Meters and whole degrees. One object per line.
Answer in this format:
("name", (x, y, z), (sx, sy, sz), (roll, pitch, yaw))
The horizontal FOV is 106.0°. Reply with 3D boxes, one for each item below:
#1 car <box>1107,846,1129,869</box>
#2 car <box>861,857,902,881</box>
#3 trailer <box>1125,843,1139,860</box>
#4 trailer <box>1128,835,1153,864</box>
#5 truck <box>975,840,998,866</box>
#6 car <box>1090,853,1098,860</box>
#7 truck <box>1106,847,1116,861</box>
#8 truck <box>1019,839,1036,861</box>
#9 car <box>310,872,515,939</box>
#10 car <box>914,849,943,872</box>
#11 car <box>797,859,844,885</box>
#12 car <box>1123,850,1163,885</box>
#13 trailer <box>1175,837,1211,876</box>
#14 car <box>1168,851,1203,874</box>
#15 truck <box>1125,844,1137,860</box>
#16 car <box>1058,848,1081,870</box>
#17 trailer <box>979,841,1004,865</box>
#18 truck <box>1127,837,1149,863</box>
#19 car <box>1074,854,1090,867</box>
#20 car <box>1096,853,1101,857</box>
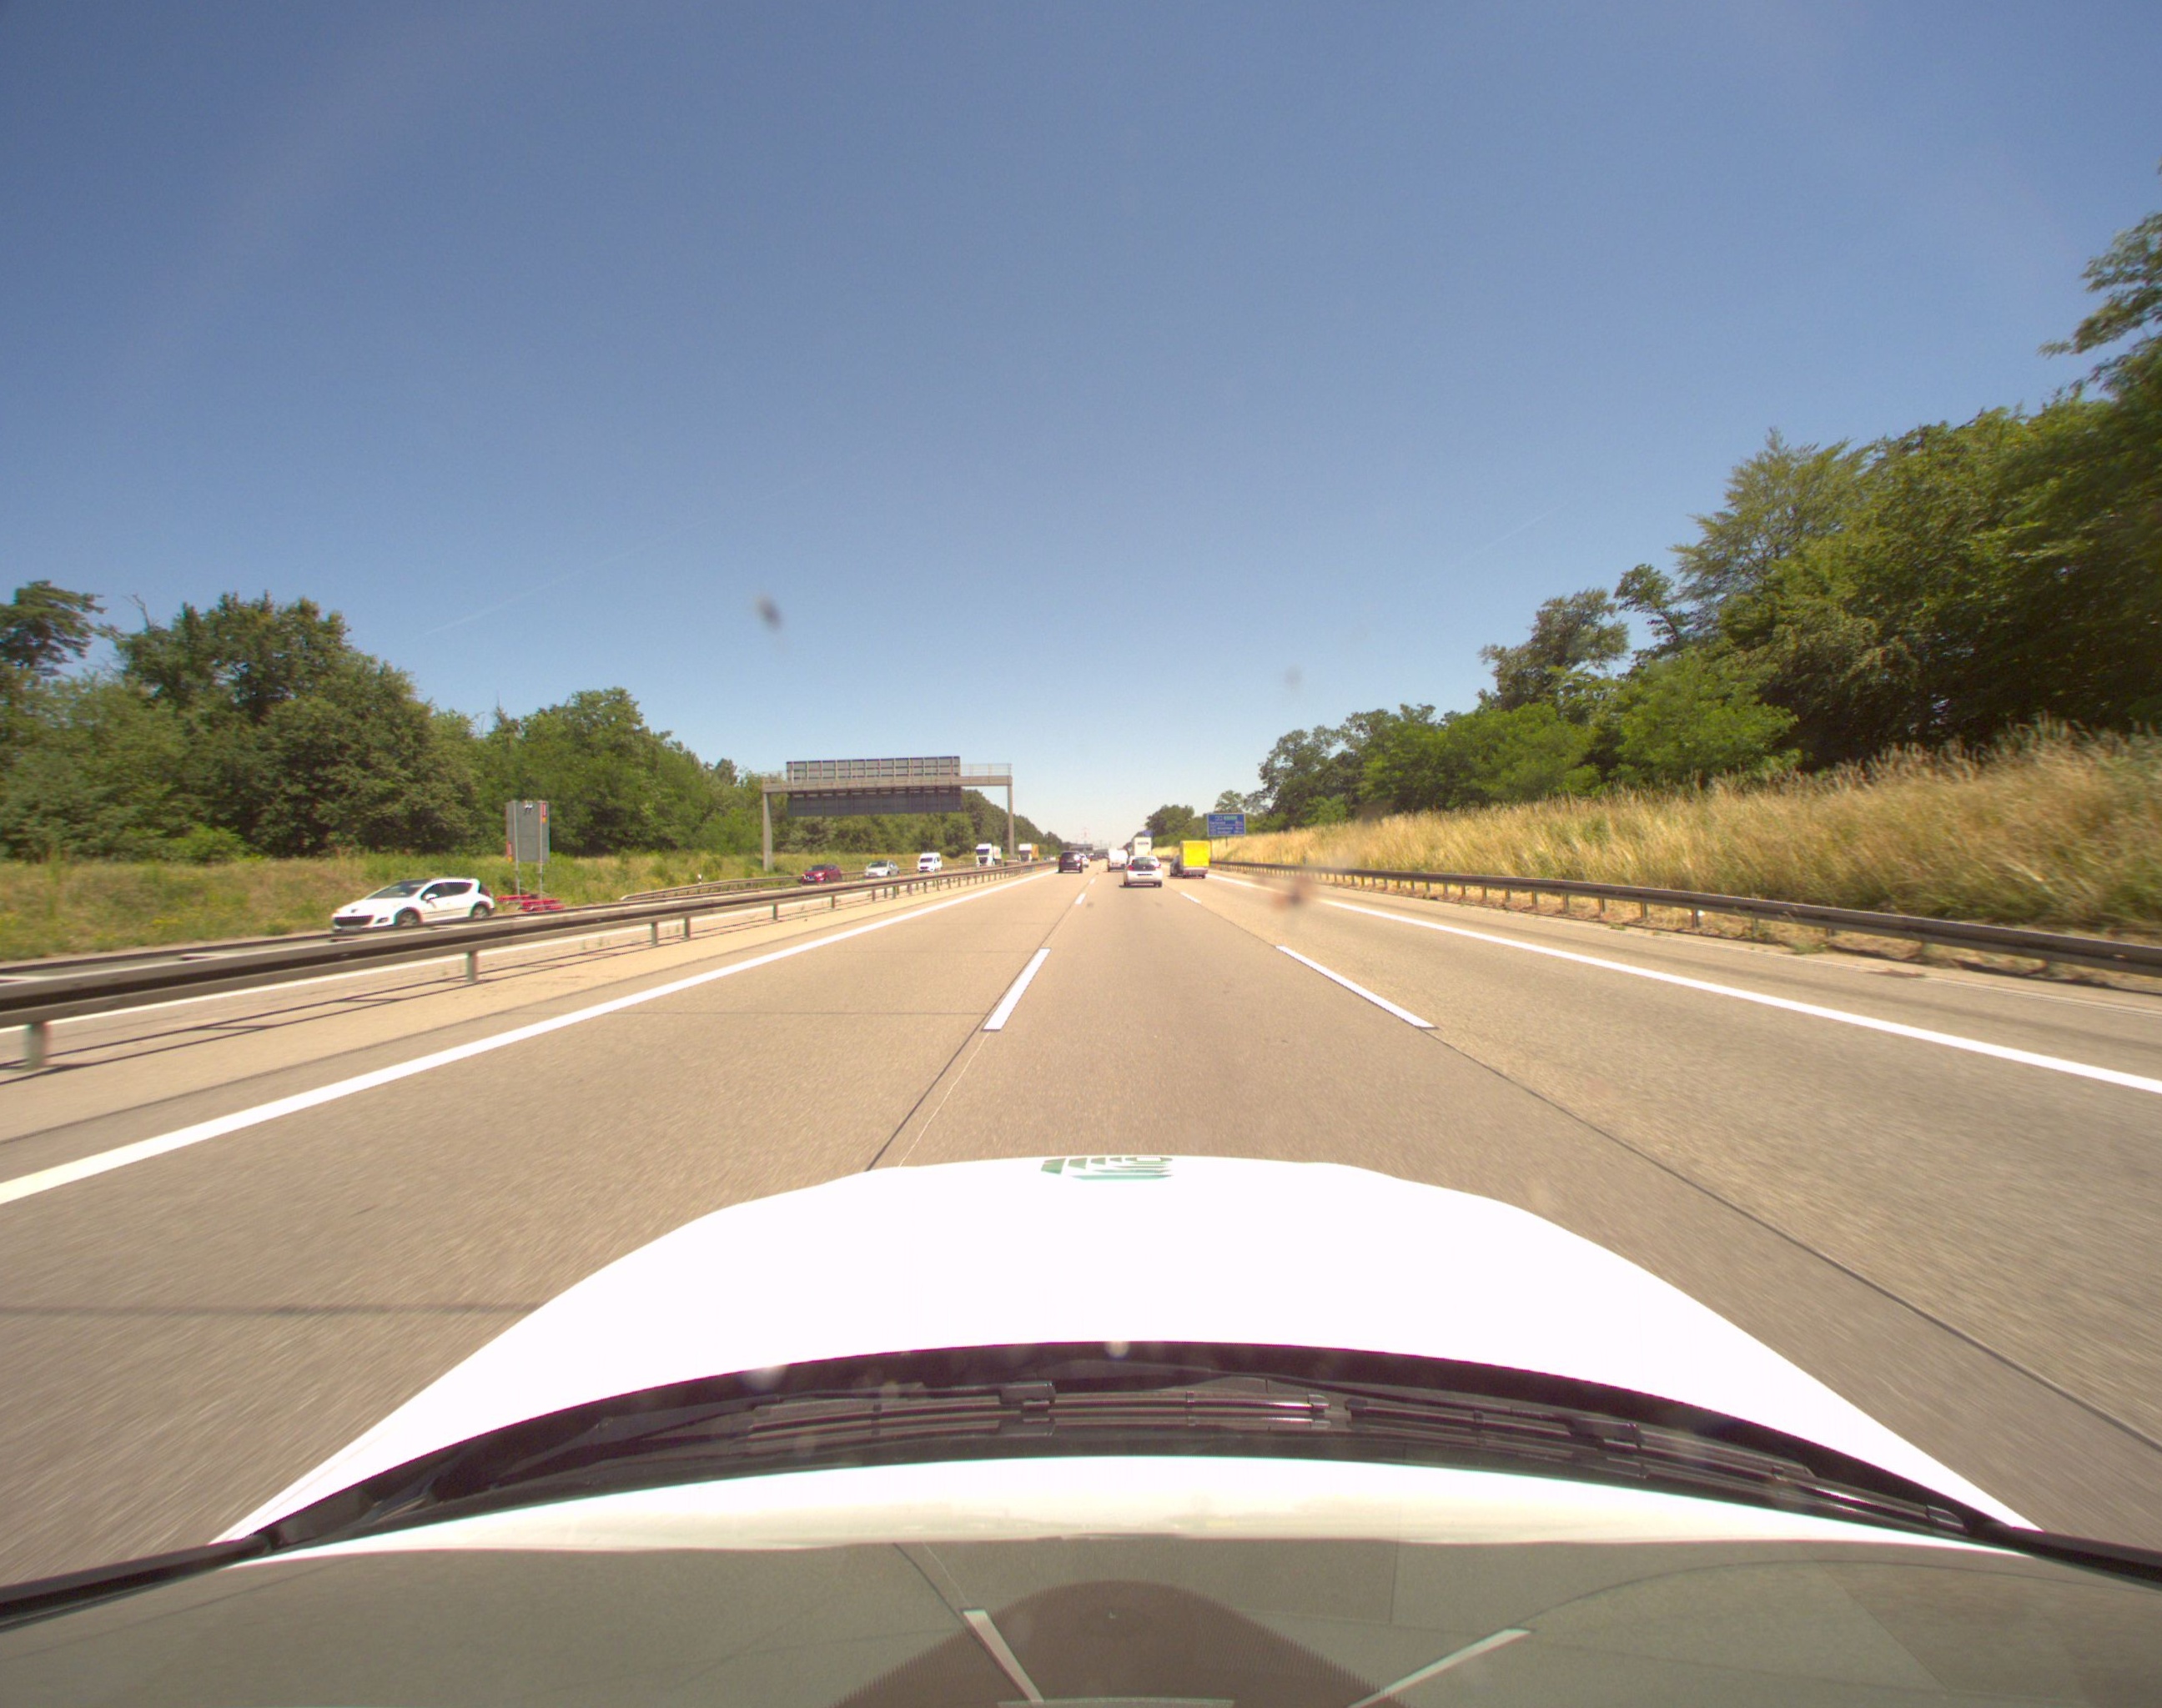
("car", (3.135, 0.311, 69.688), (1.807, 1.827, 5.112), (-1, 0, 2))
("car", (-14.147, 1.016, 58.060), (1.641, 1.499, 4.562), (-4, 0, 1))
("trailer", (11.602, -0.527, 185.336), (2.673, 3.837, 12.014), (0, 0, 2))
("trailer", (9.051, -0.627, 125.941), (3.273, 4.219, 13.569), (0, 0, 2))
("truck", (-15.820, -0.184, 136.220), (2.615, 3.948, 6.486), (-4, 0, 2))
("car", (2.779, 0.526, 177.545), (1.601, 1.300, 3.676), (-1, 0, 2))
("truck", (6.329, 0.085, 172.563), (2.052, 2.914, 7.005), (-1, 0, 2))
("truck", (-10.458, -0.692, 159.959), (2.454, 4.072, 6.290), (-4, 0, 2))
("car", (-19.288, 1.397, 23.865), (1.788, 1.516, 4.905), (-4, 0, 1))
("car", (-17.171, 0.719, 92.024), (1.980, 2.340, 5.811), (-4, 0, 1))
("car", (-18.583, 1.267, 58.301), (1.640, 1.591, 4.614), (-4, 0, 2))
("car", (2.829, 0.597, 37.701), (1.702, 1.495, 4.026), (-1, 0, 2))
("trailer", (6.761, 0.133, 49.481), (1.697, 2.289, 3.840), (0, 0, 1))
("car", (6.856, 0.546, 53.795), (1.815, 1.456, 4.789), (0, 0, 1))
("truck", (11.778, -0.489, 191.208), (2.673, 3.837, 4.445), (0, 0, 1))
("car", (-0.915, 0.384, 65.484), (1.620, 1.755, 3.806), (-1, 0, 2))
("trailer", (-15.585, -0.217, 142.663), (2.615, 3.948, 11.163), (-4, 0, 2))
("truck", (9.224, -0.634, 132.943), (3.274, 4.219, 6.009), (0, 0, 1))
("car", (0.096, 0.718, 91.018), (1.663, 1.401, 3.713), (-1, 0, 1))
("car", (4.802, 0.322, 226.694), (1.400, 1.131, 3.360), (-1, 0, 2))
